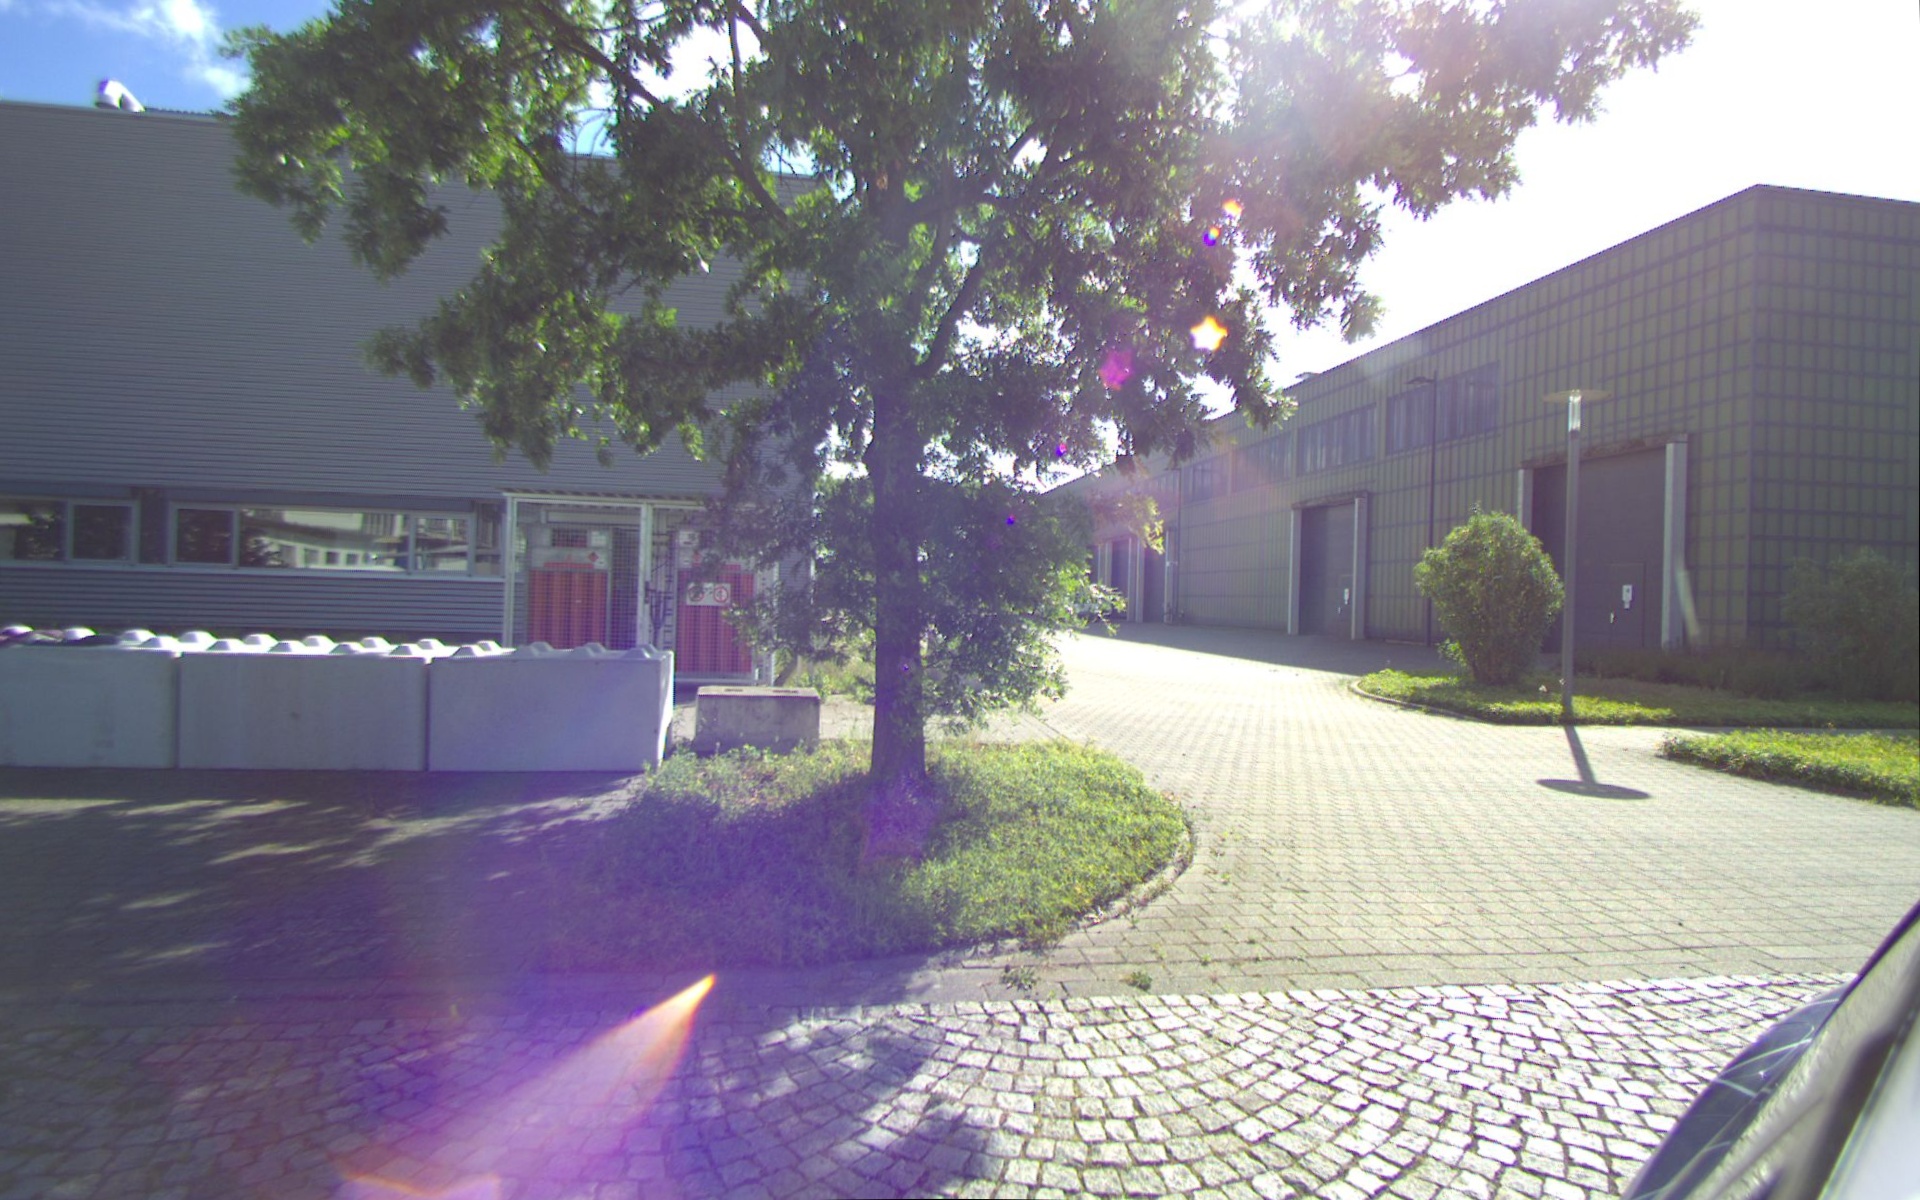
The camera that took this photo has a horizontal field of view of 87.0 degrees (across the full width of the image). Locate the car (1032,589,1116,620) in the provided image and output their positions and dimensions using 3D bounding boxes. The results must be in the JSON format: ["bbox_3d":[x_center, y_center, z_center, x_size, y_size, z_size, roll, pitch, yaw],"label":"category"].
[{"bbox_3d":[6.707,0.248,59.677,4.485,1.684,2.003,2,0,-9],"label":"car"}]
